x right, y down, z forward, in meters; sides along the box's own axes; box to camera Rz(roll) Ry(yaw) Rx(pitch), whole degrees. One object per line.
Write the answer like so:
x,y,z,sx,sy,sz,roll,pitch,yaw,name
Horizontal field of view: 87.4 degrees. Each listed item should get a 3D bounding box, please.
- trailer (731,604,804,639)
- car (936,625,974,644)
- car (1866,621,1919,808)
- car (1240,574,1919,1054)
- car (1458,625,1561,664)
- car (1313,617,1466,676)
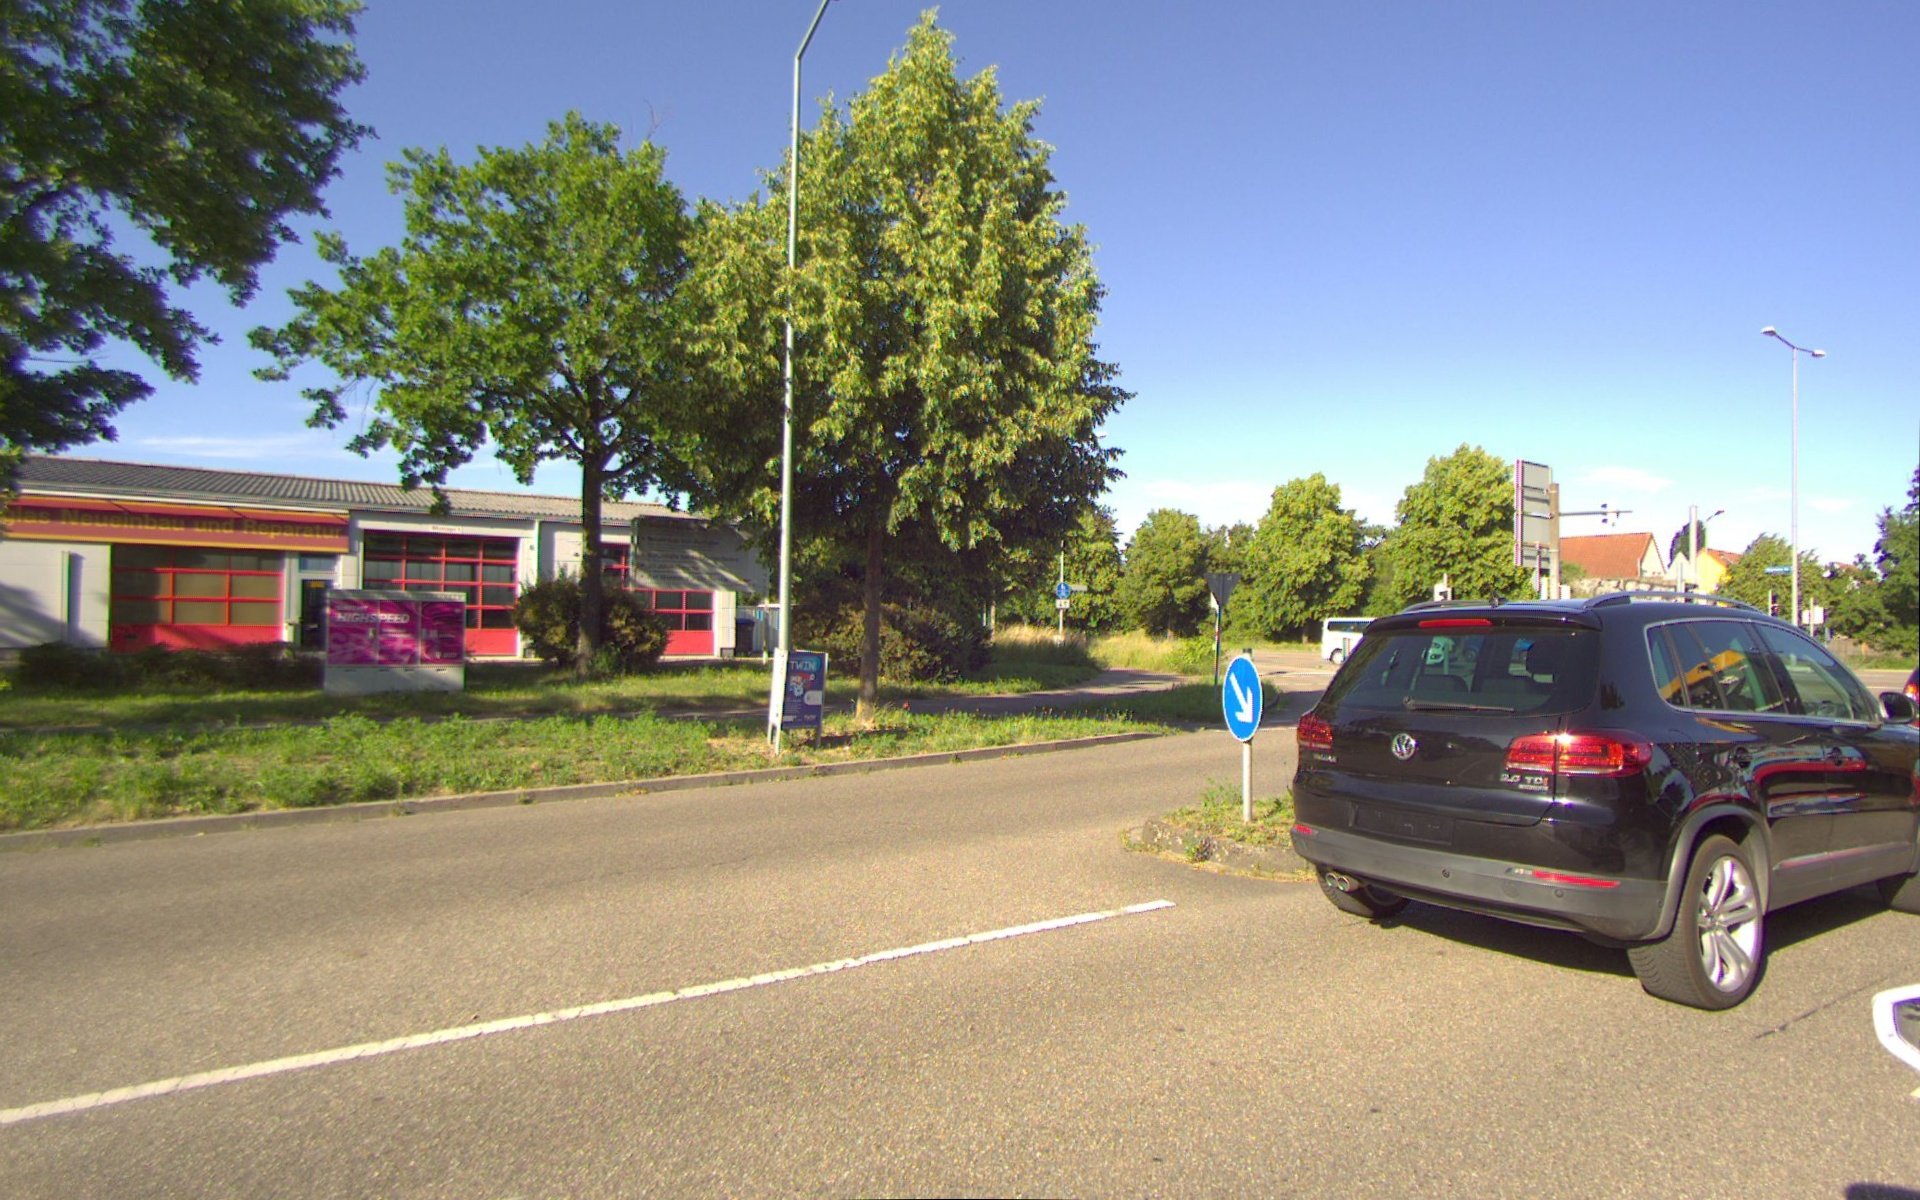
-24.347,2.637,126.167,3.406,4.066,14.561,1,-1,-35,trailer
-0.475,3.176,92.617,1.691,1.634,3.781,2,0,-35,car
10.231,1.009,9.216,3.954,1.610,1.753,1,-3,-31,car
3.553,0.824,5.314,3.954,1.675,1.763,1,-3,-31,car
23.755,1.909,43.498,1.733,1.581,3.559,2,-2,-35,car
17.238,1.799,40.603,2.160,2.146,5.350,2,-1,-35,car
